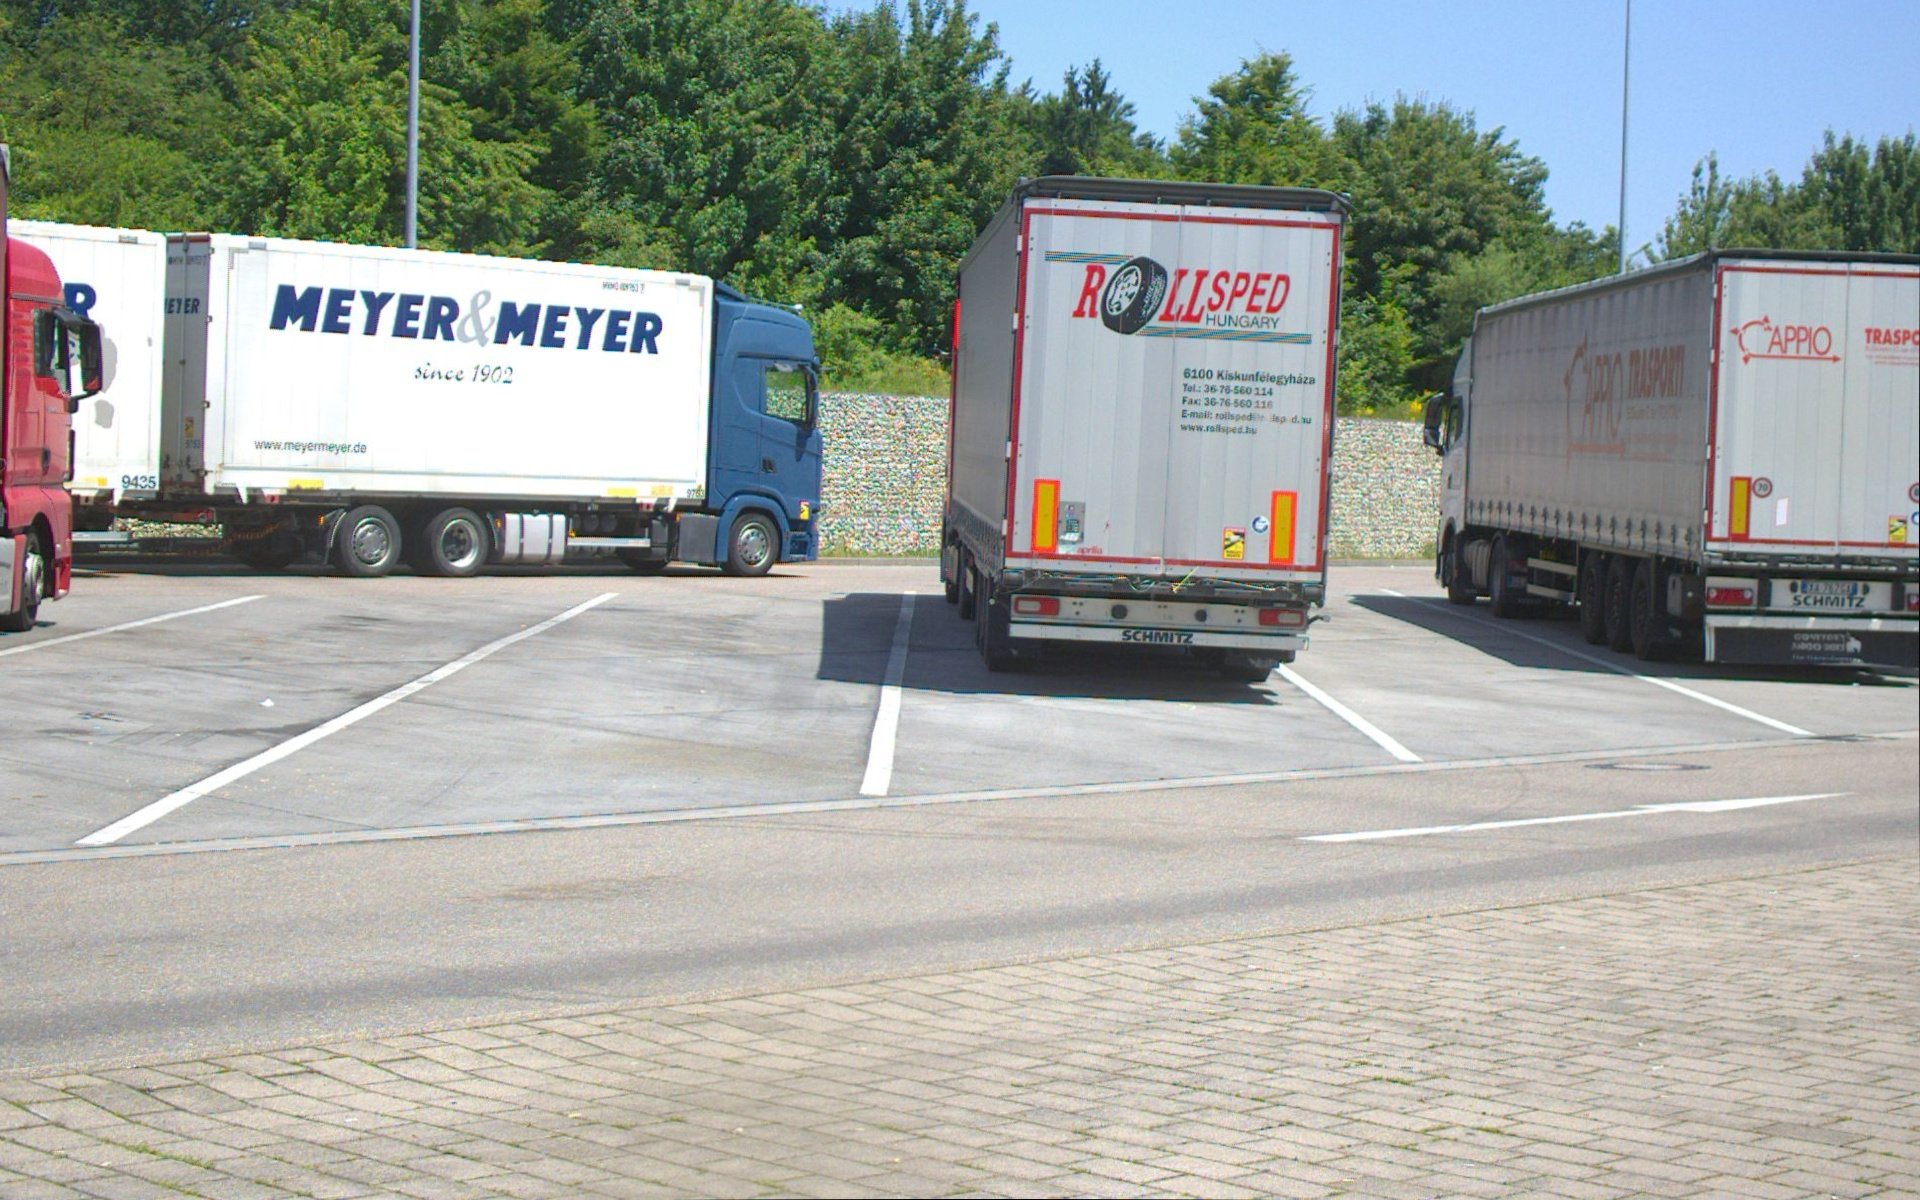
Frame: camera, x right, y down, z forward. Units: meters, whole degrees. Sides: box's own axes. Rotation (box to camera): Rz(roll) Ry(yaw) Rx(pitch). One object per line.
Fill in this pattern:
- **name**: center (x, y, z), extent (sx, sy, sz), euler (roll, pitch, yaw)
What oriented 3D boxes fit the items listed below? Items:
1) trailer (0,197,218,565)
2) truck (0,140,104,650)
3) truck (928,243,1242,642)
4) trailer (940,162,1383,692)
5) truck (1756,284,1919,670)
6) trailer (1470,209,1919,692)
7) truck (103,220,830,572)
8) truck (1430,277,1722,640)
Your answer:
- **trailer**: center (-12.238, -2.469, 38.159), extent (2.262, 4.053, 7.866), euler (1, 1, 43)
- **truck**: center (-9.172, -1.688, 28.356), extent (2.805, 4.119, 5.894), euler (1, 2, -1)
- **truck**: center (1.236, -1.688, 37.697), extent (2.871, 3.966, 6.030), euler (1, 2, -3)
- **trailer**: center (1.504, -1.497, 31.865), extent (2.897, 4.000, 11.319), euler (1, 2, -3)
- **truck**: center (11.735, -1.341, 38.704), extent (2.587, 4.211, 11.971), euler (1, 1, -1)
- **trailer**: center (8.117, -1.582, 38.198), extent (2.681, 4.437, 12.831), euler (1, 2, -1)
- **truck**: center (-6.108, -2.451, 44.664), extent (2.240, 4.019, 10.028), euler (2, 1, 44)
- **truck**: center (7.984, -1.829, 45.255), extent (2.661, 4.437, 5.864), euler (1, 2, -1)
